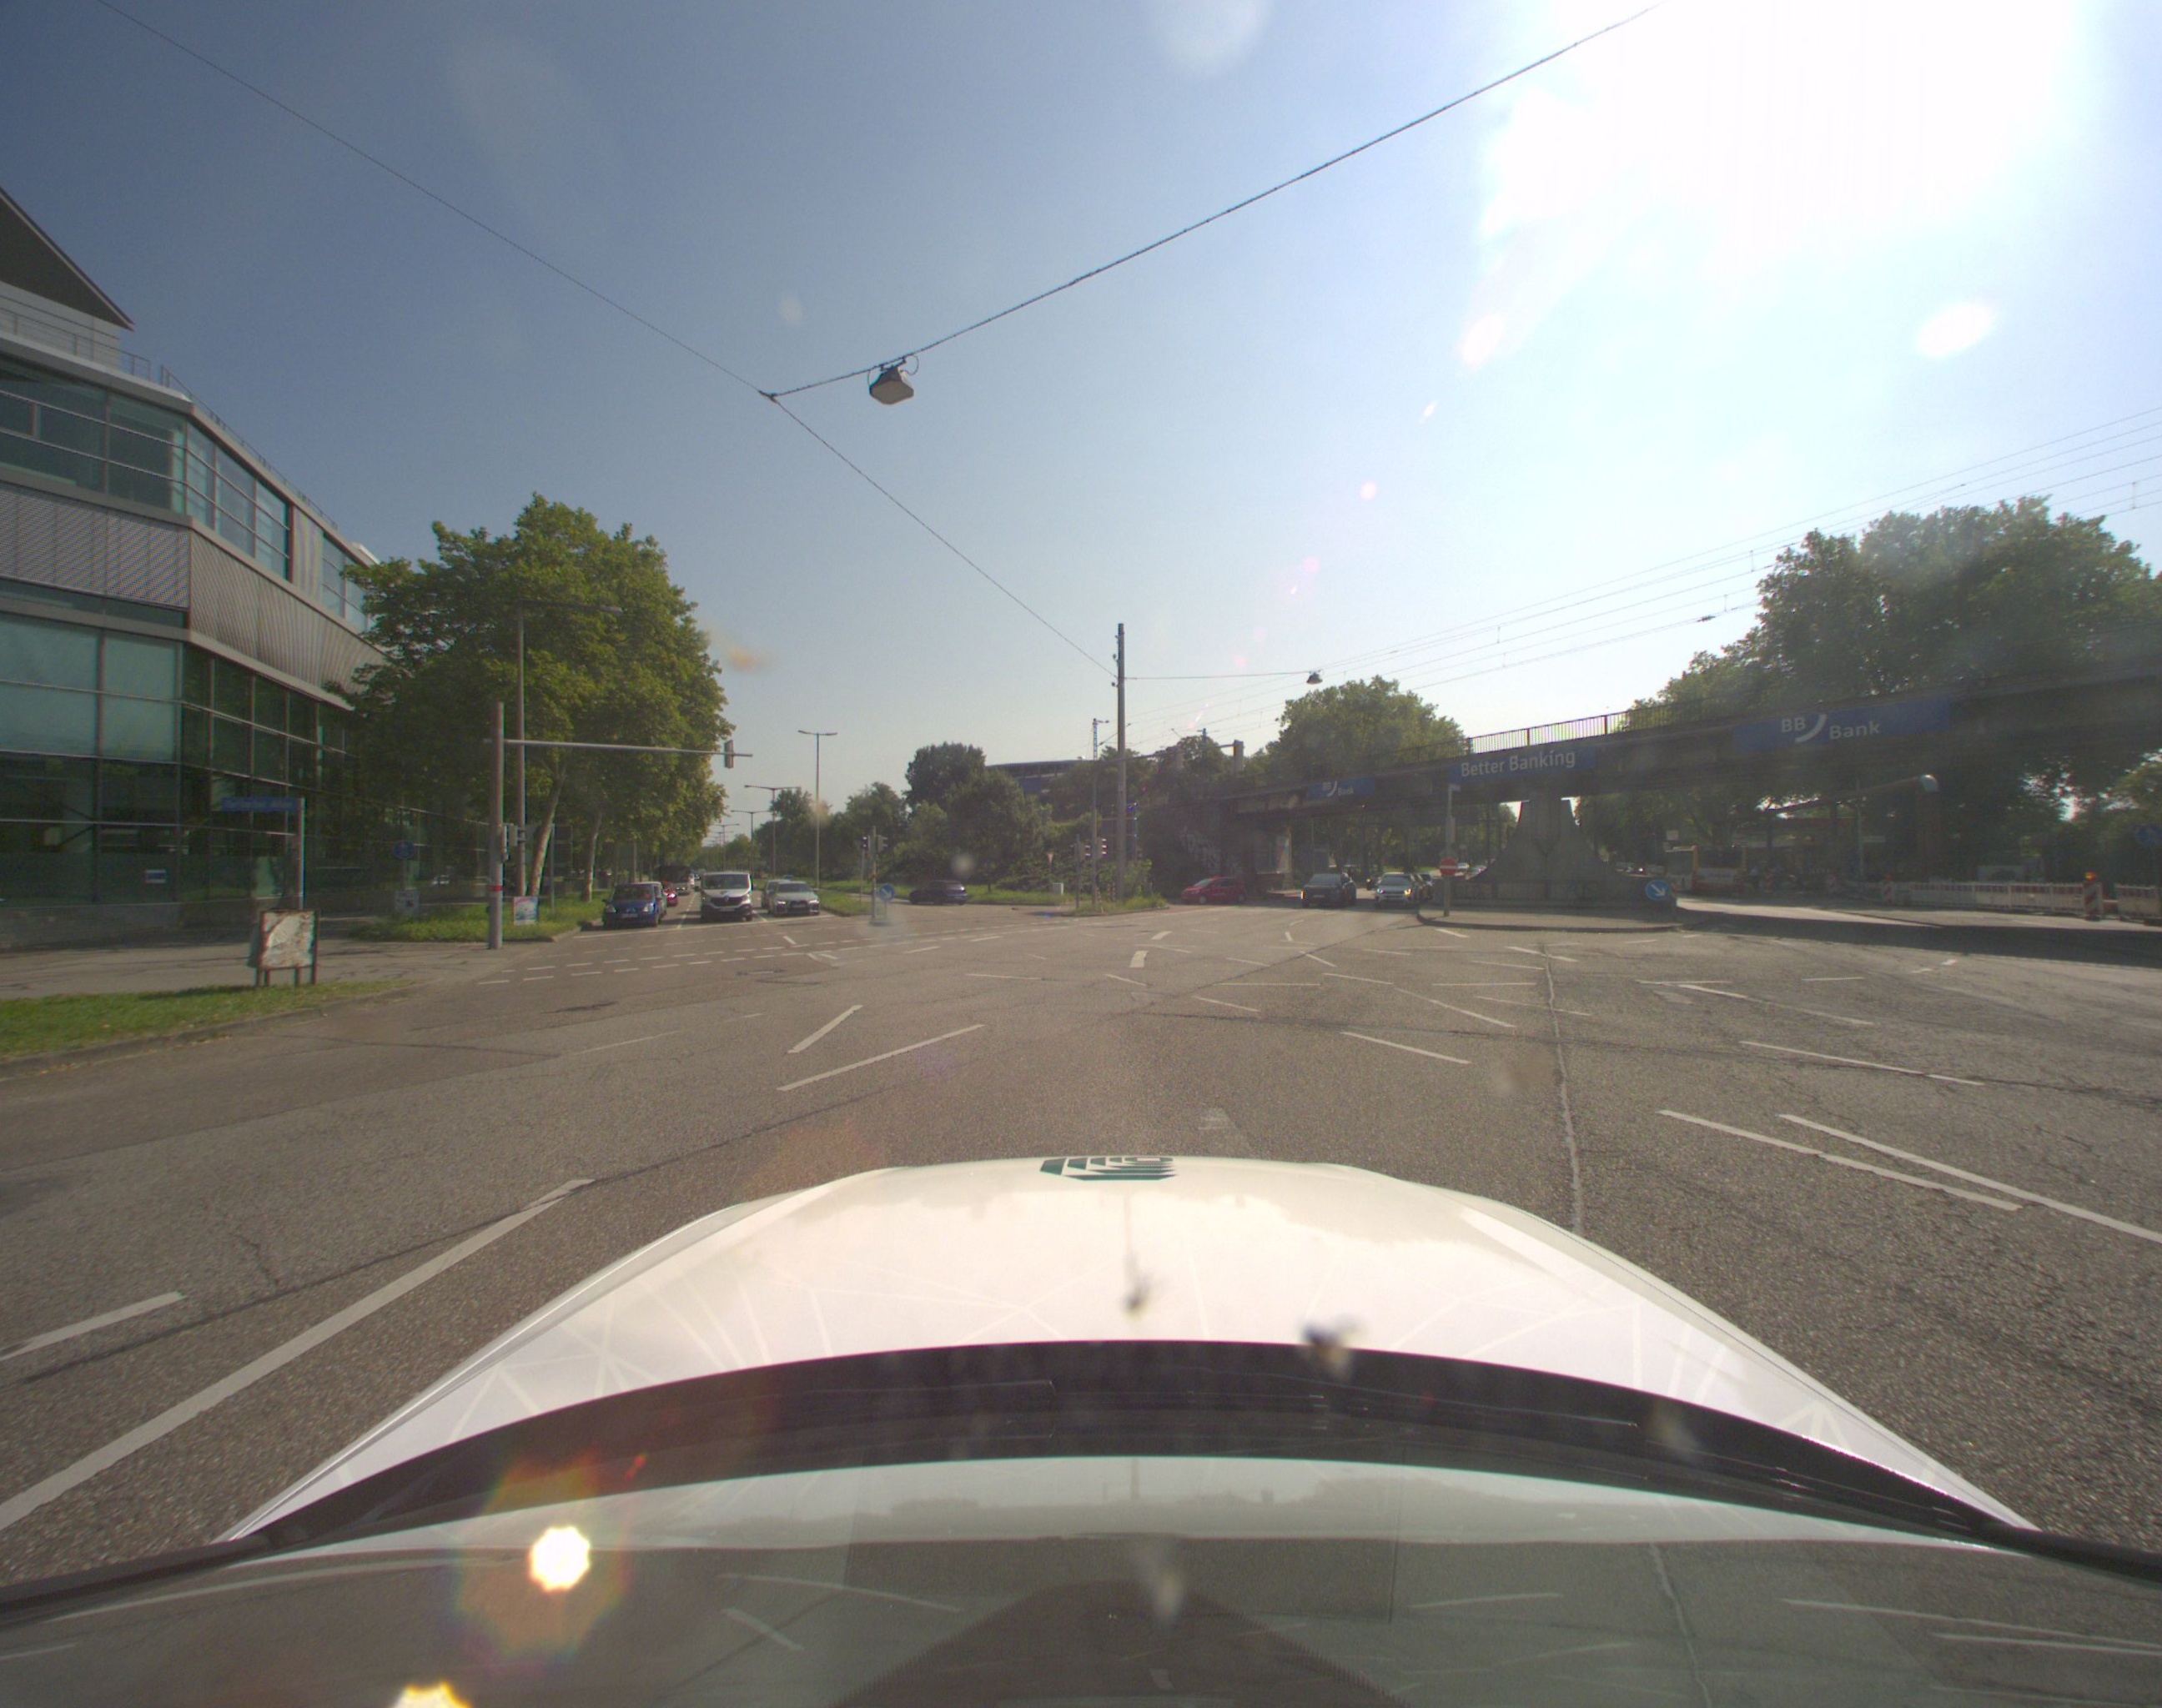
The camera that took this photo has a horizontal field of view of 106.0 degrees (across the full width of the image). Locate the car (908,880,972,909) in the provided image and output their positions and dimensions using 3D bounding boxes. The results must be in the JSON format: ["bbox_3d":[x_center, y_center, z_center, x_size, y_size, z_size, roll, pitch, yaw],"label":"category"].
[{"bbox_3d":[-8.226,2.300,47.394,1.796,1.428,3.952,2,0,-42],"label":"car"}]

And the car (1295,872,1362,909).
[{"bbox_3d":[11.689,1.675,38.264,1.883,1.617,4.502,-2,-2,32],"label":"car"}]

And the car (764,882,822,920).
[{"bbox_3d":[-12.543,1.971,35.299,1.845,1.443,4.566,-2,-1,-26],"label":"car"}]

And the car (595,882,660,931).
[{"bbox_3d":[-16.542,1.861,29.850,1.675,1.535,3.700,-2,0,-24],"label":"car"}]

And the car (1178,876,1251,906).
[{"bbox_3d":[7.238,2.011,44.131,3.555,1.467,1.632,2,1,-22],"label":"car"}]

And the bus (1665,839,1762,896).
[{"bbox_3d":[40.905,0.842,53.145,3.106,3.113,12.365,4,1,29],"label":"bus"}]

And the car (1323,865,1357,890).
[{"bbox_3d":[21.523,1.918,67.535,1.975,1.849,4.024,2,0,27],"label":"car"}]

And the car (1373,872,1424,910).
[{"bbox_3d":[13.960,1.578,35.699,1.705,1.538,3.717,-2,-2,26],"label":"car"}]

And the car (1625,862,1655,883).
[{"bbox_3d":[58.430,1.890,85.220,1.975,2.013,4.023,2,0,27],"label":"car"}]

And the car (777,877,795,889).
[{"bbox_3d":[-42.525,4.163,117.304,2.004,1.654,3.966,0,-2,-26],"label":"car"}]

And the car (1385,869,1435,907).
[{"bbox_3d":[16.154,1.625,39.872,1.975,1.573,4.373,0,1,26],"label":"car"}]

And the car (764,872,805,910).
[{"bbox_3d":[-15.367,1.871,42.066,1.622,1.534,4.069,-2,4,-25],"label":"car"}]

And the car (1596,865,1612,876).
[{"bbox_3d":[95.337,3.007,148.530,1.975,2.013,4.023,2,0,27],"label":"car"}]

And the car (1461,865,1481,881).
[{"bbox_3d":[39.948,1.898,83.350,1.834,1.483,4.211,0,0,26],"label":"car"}]

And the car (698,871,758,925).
[{"bbox_3d":[-14.287,1.679,32.795,1.937,1.958,5.167,0,-1,-26],"label":"car"}]
